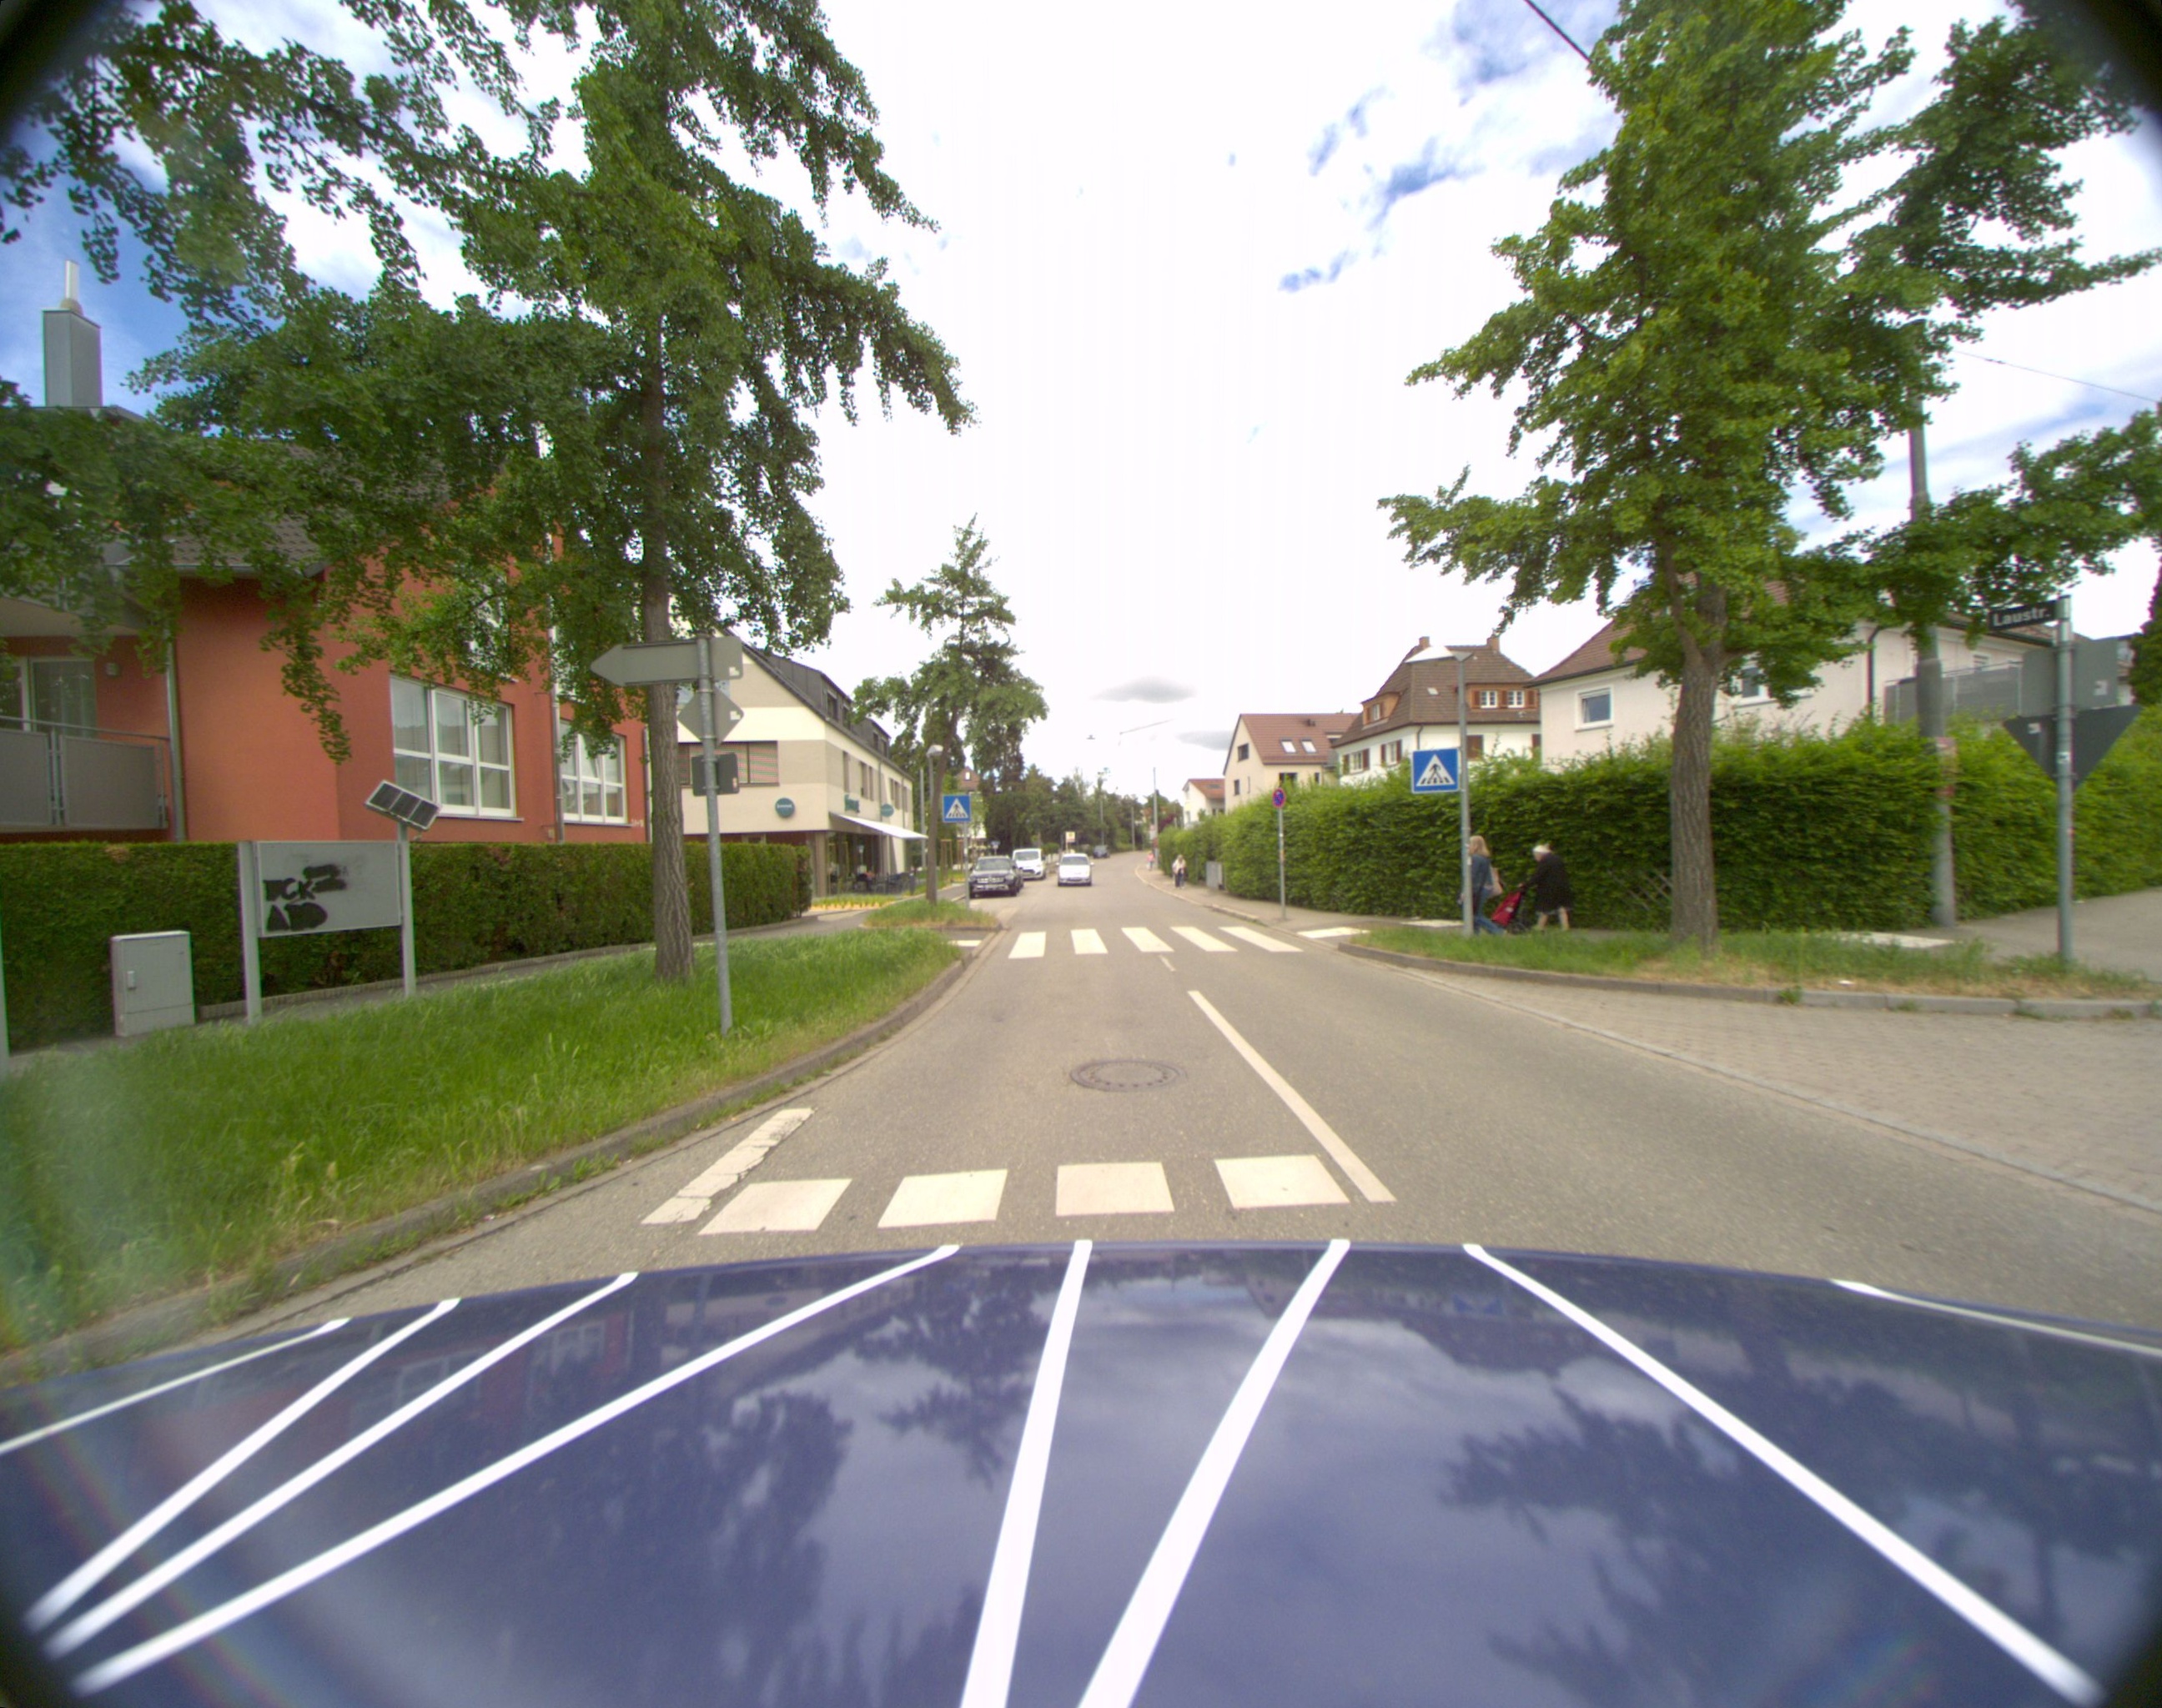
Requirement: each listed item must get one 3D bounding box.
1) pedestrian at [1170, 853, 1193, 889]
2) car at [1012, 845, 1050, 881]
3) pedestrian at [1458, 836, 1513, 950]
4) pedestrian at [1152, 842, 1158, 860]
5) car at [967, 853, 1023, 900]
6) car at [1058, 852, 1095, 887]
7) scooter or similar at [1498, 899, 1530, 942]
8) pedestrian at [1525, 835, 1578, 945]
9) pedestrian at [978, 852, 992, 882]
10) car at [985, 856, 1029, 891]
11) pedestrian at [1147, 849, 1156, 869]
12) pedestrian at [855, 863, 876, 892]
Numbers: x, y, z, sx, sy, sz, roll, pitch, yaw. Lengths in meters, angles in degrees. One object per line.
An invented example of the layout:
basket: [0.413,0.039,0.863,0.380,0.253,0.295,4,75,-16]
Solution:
pedestrian: [4.352,0.725,33.027,0.749,1.522,0.544,-4,1,-13]
car: [-3.110,0.524,48.098,1.999,2.002,5.566,-3,1,-1]
pedestrian: [5.950,0.564,11.169,0.597,1.610,0.679,-4,1,30]
pedestrian: [8.055,-0.333,82.844,0.535,1.941,0.528,-2,1,9]
car: [-3.418,0.853,30.895,1.852,1.627,4.464,-3,1,-3]
car: [-0.210,0.724,38.194,1.726,1.559,3.926,-2,1,0]
scooter or similar: [6.814,1.042,11.950,0.399,0.606,0.489,-4,2,30]
pedestrian: [7.201,0.547,11.654,0.597,1.610,0.679,-4,1,30]
pedestrian: [-5.267,0.705,41.851,0.678,1.659,0.660,-1,1,0]
car: [-3.488,0.891,36.373,1.711,1.444,3.834,-3,1,-2]
pedestrian: [5.683,0.371,61.034,0.619,1.590,0.608,-2,1,-1]
pedestrian: [-9.570,1.019,33.719,0.753,1.231,0.691,-2,1,-6]
